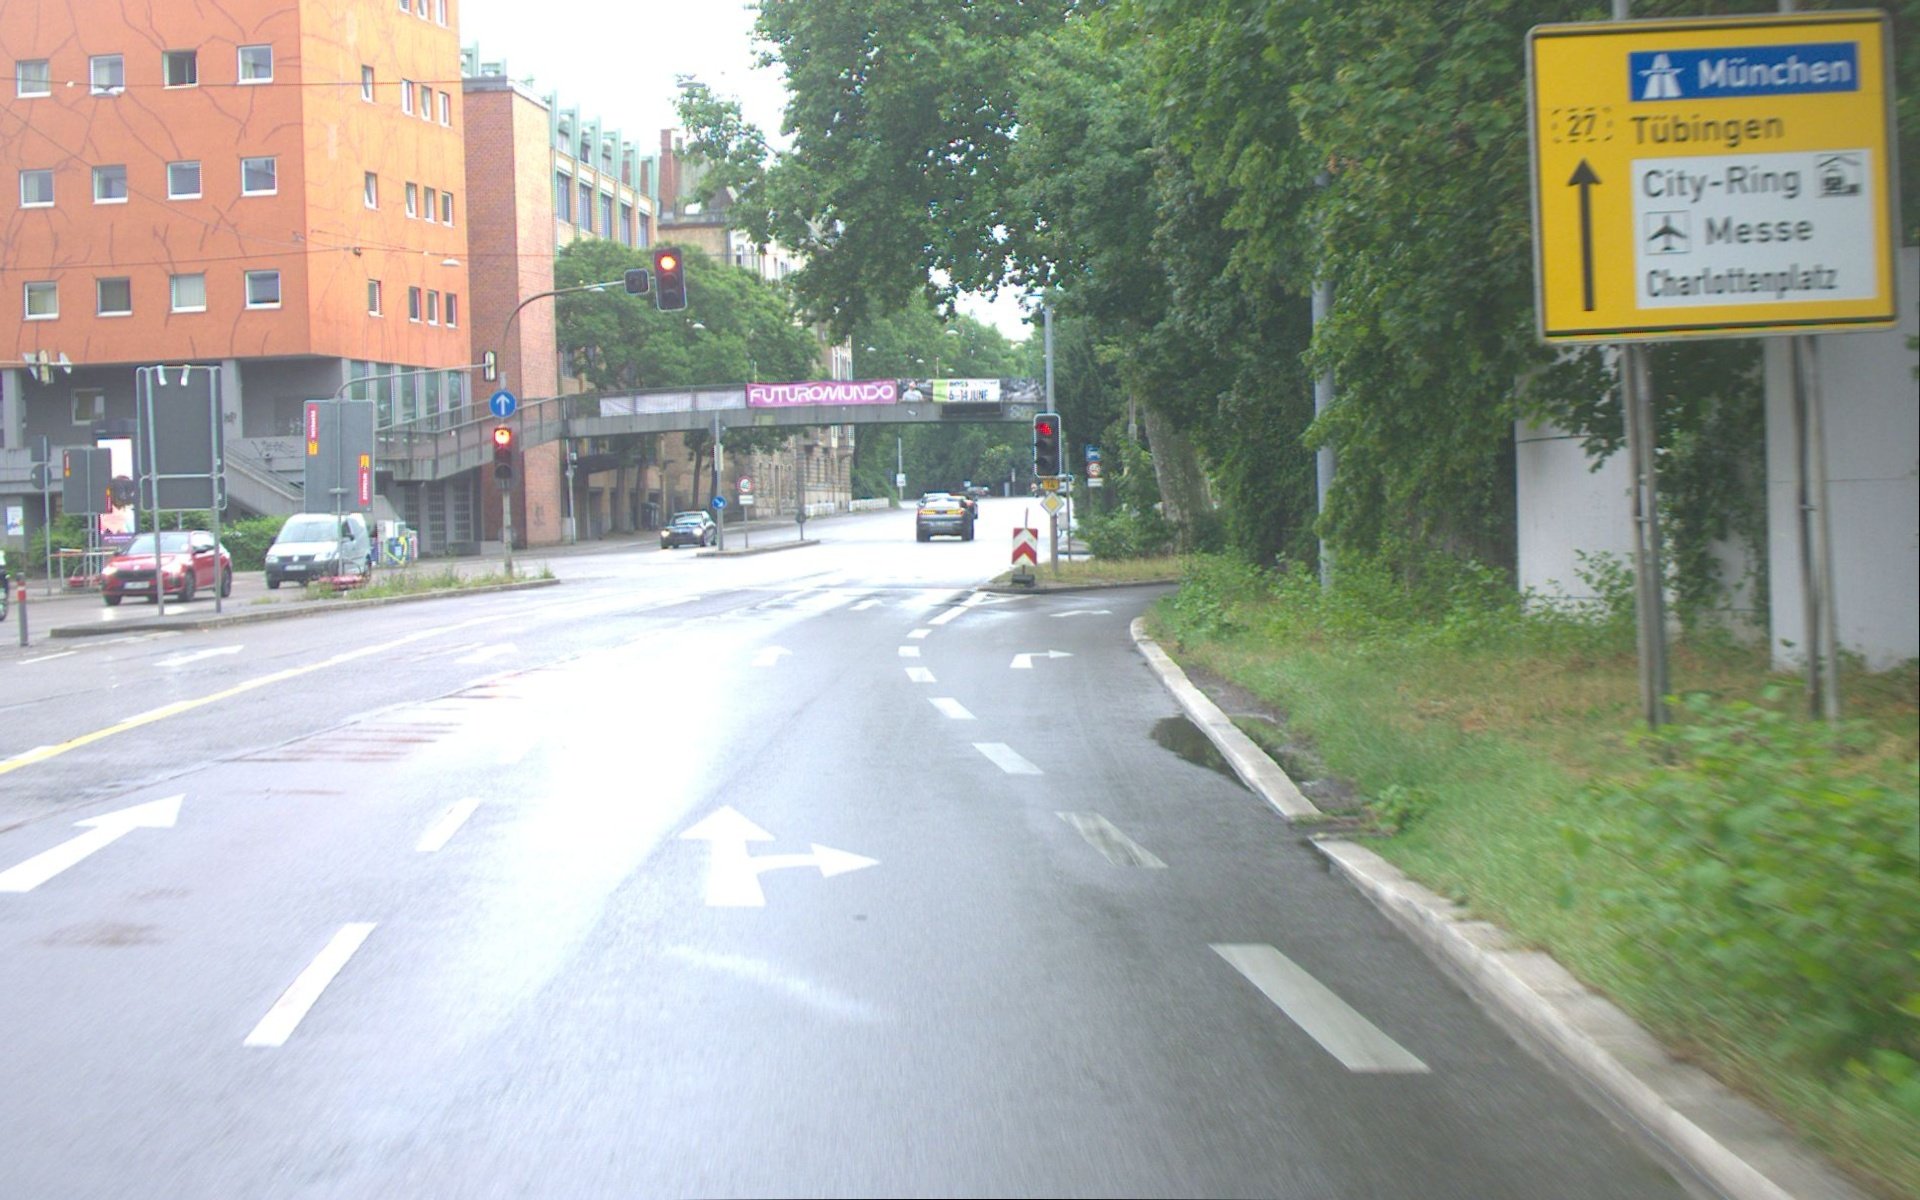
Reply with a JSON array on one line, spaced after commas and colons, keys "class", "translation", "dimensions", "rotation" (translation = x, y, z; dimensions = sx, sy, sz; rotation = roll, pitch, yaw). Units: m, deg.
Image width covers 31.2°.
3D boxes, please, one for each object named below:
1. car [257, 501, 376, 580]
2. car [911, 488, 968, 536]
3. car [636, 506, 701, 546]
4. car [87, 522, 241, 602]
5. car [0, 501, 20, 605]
[{"class": "car", "translation": [-15.411, -1.456, 82.568], "dimensions": [1.734, 1.780, 4.301], "rotation": [-3, 1, 3]}, {"class": "car", "translation": [-0.788, -3.382, 131.145], "dimensions": [2.120, 1.728, 4.199], "rotation": [0, 3, 0]}, {"class": "car", "translation": [-11.539, -2.945, 136.266], "dimensions": [1.994, 1.514, 4.000], "rotation": [-1, 2, 3]}, {"class": "car", "translation": [-16.392, -0.810, 70.989], "dimensions": [1.830, 1.497, 4.373], "rotation": [-3, 1, 4]}, {"class": "car", "translation": [-17.065, -0.713, 55.992], "dimensions": [1.845, 1.731, 4.604], "rotation": [-2, 1, 5]}]
